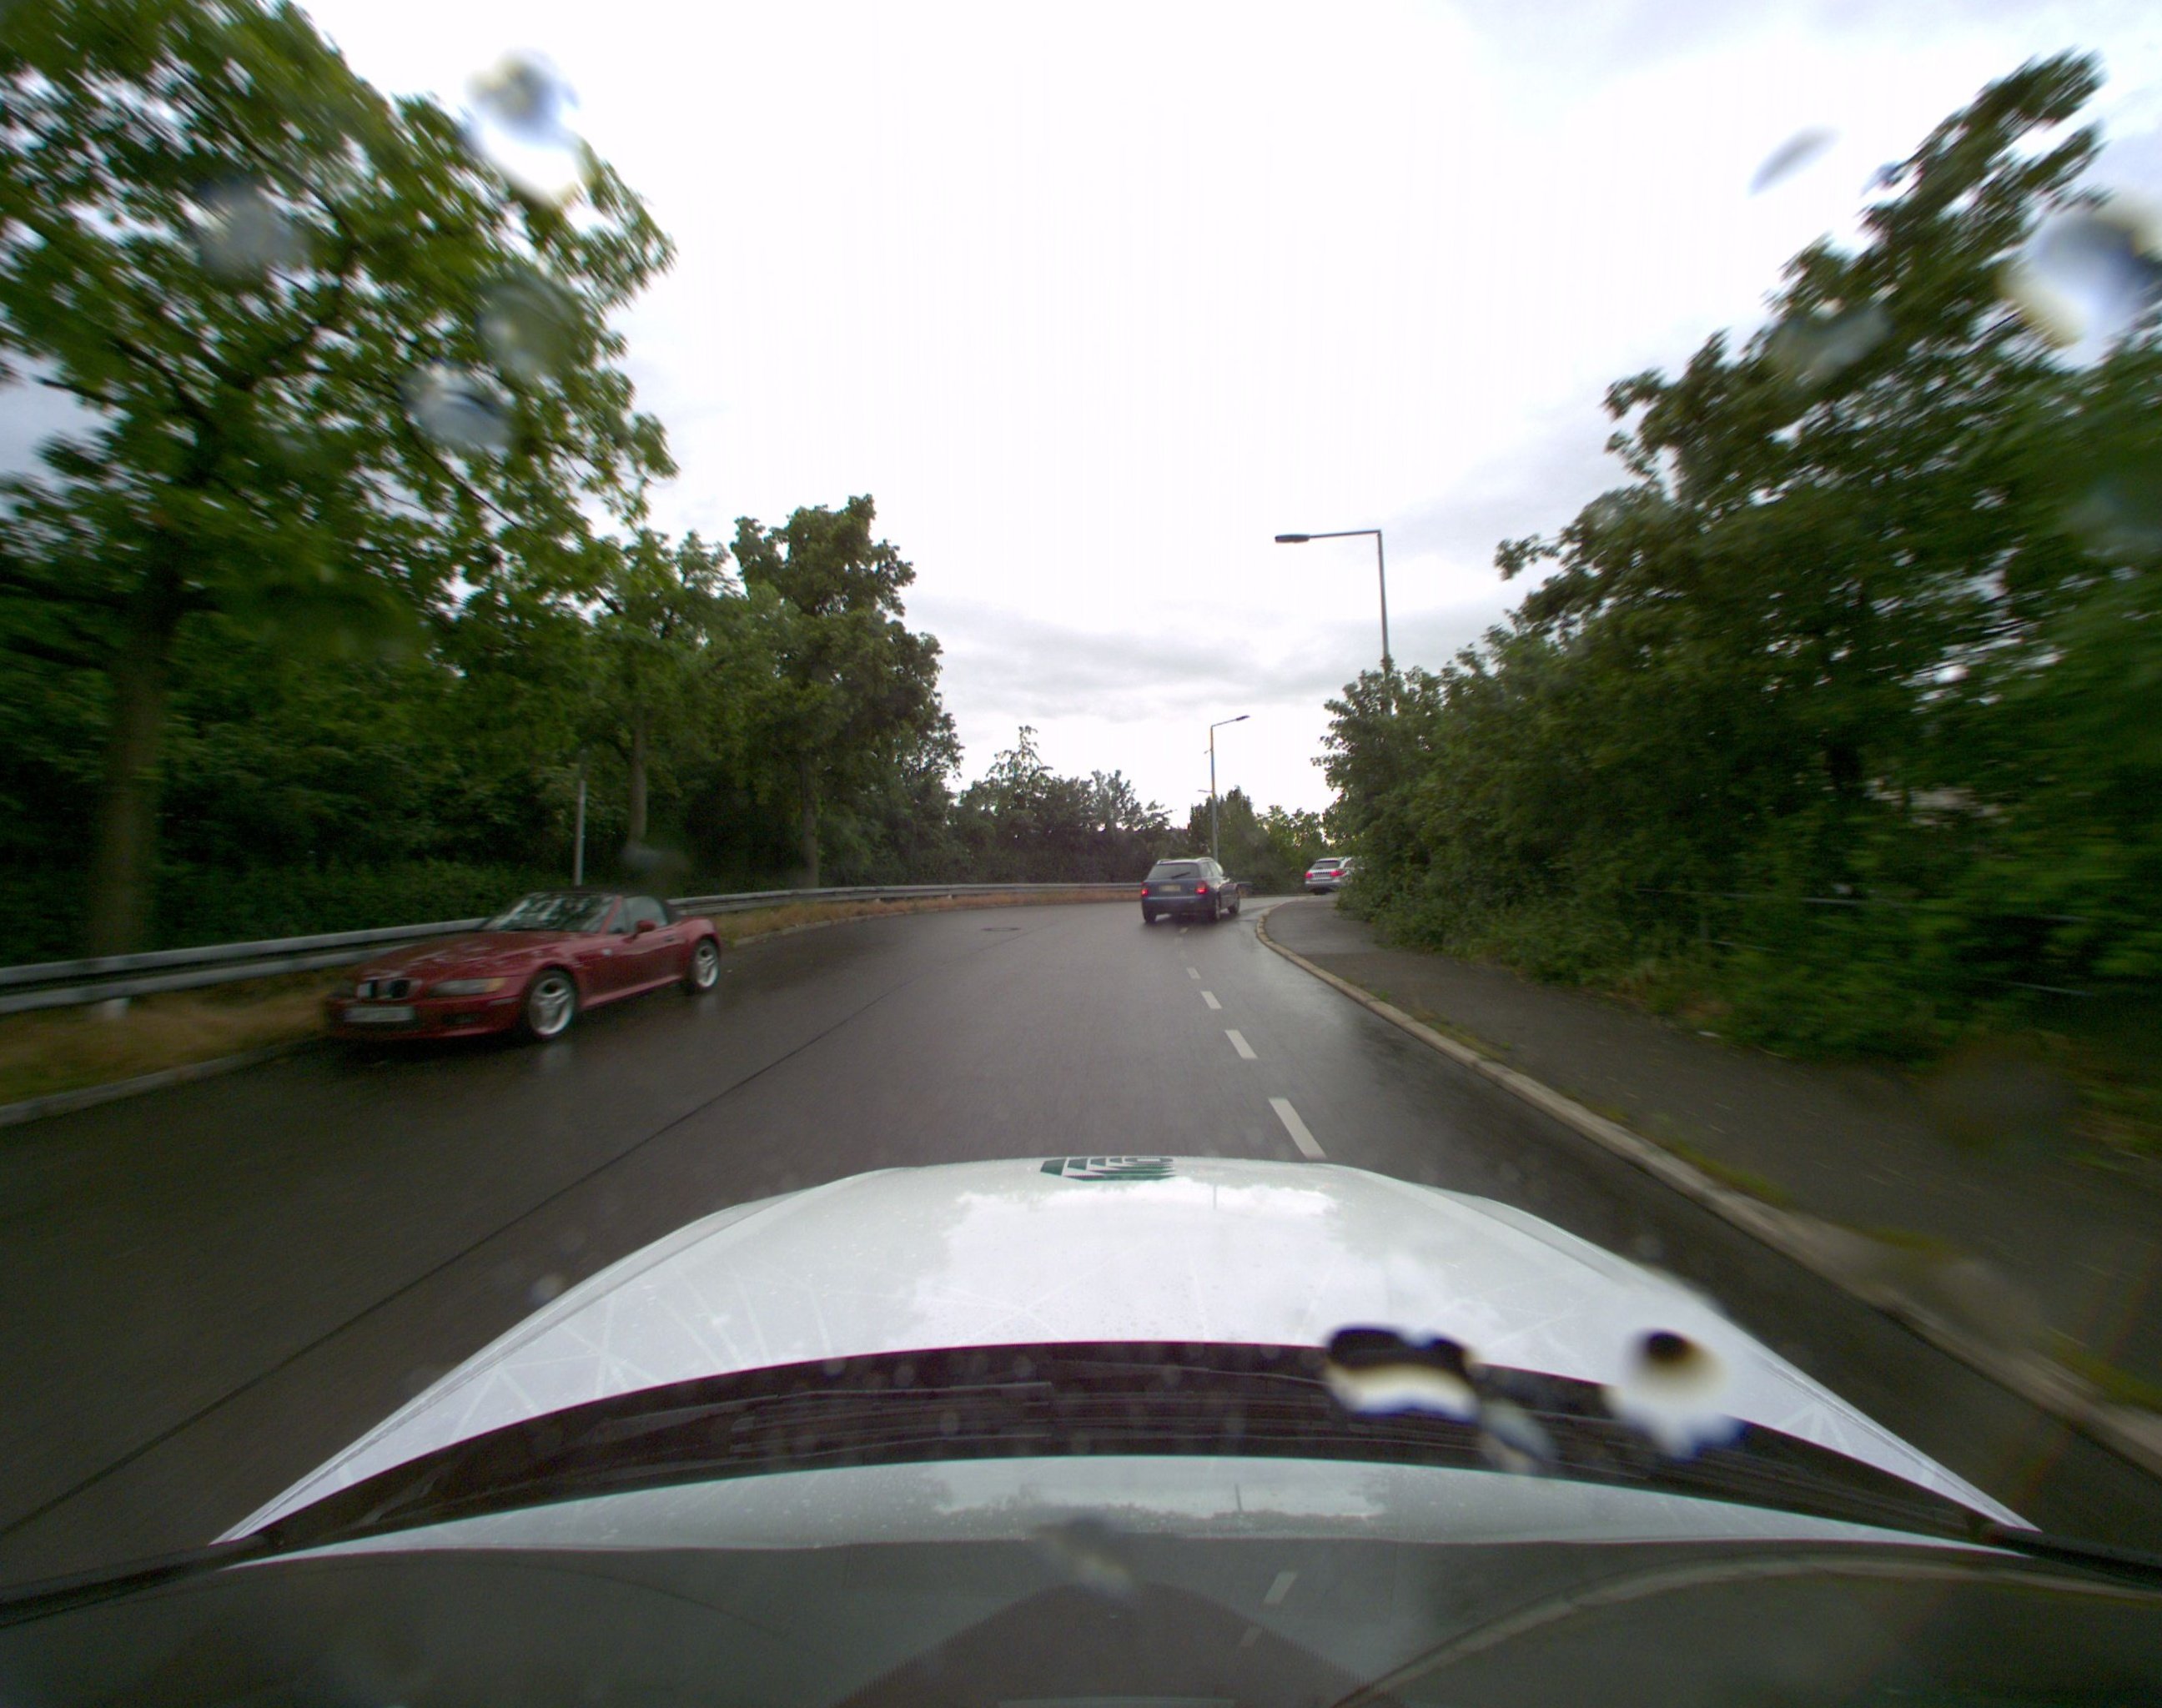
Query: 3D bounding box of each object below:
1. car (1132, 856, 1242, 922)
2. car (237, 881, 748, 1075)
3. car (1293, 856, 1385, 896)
[{"bbox_3d":[2.674,0.789,19.712,1.732,1.407,4.020,-2,-1,20],"label":"car"},{"bbox_3d":[-5.329,1.010,8.279,1.781,1.297,4.331,-2,-1,5],"label":"car"},{"bbox_3d":[9.835,0.799,30.826,1.872,1.389,4.025,-2,-1,40],"label":"car"}]
